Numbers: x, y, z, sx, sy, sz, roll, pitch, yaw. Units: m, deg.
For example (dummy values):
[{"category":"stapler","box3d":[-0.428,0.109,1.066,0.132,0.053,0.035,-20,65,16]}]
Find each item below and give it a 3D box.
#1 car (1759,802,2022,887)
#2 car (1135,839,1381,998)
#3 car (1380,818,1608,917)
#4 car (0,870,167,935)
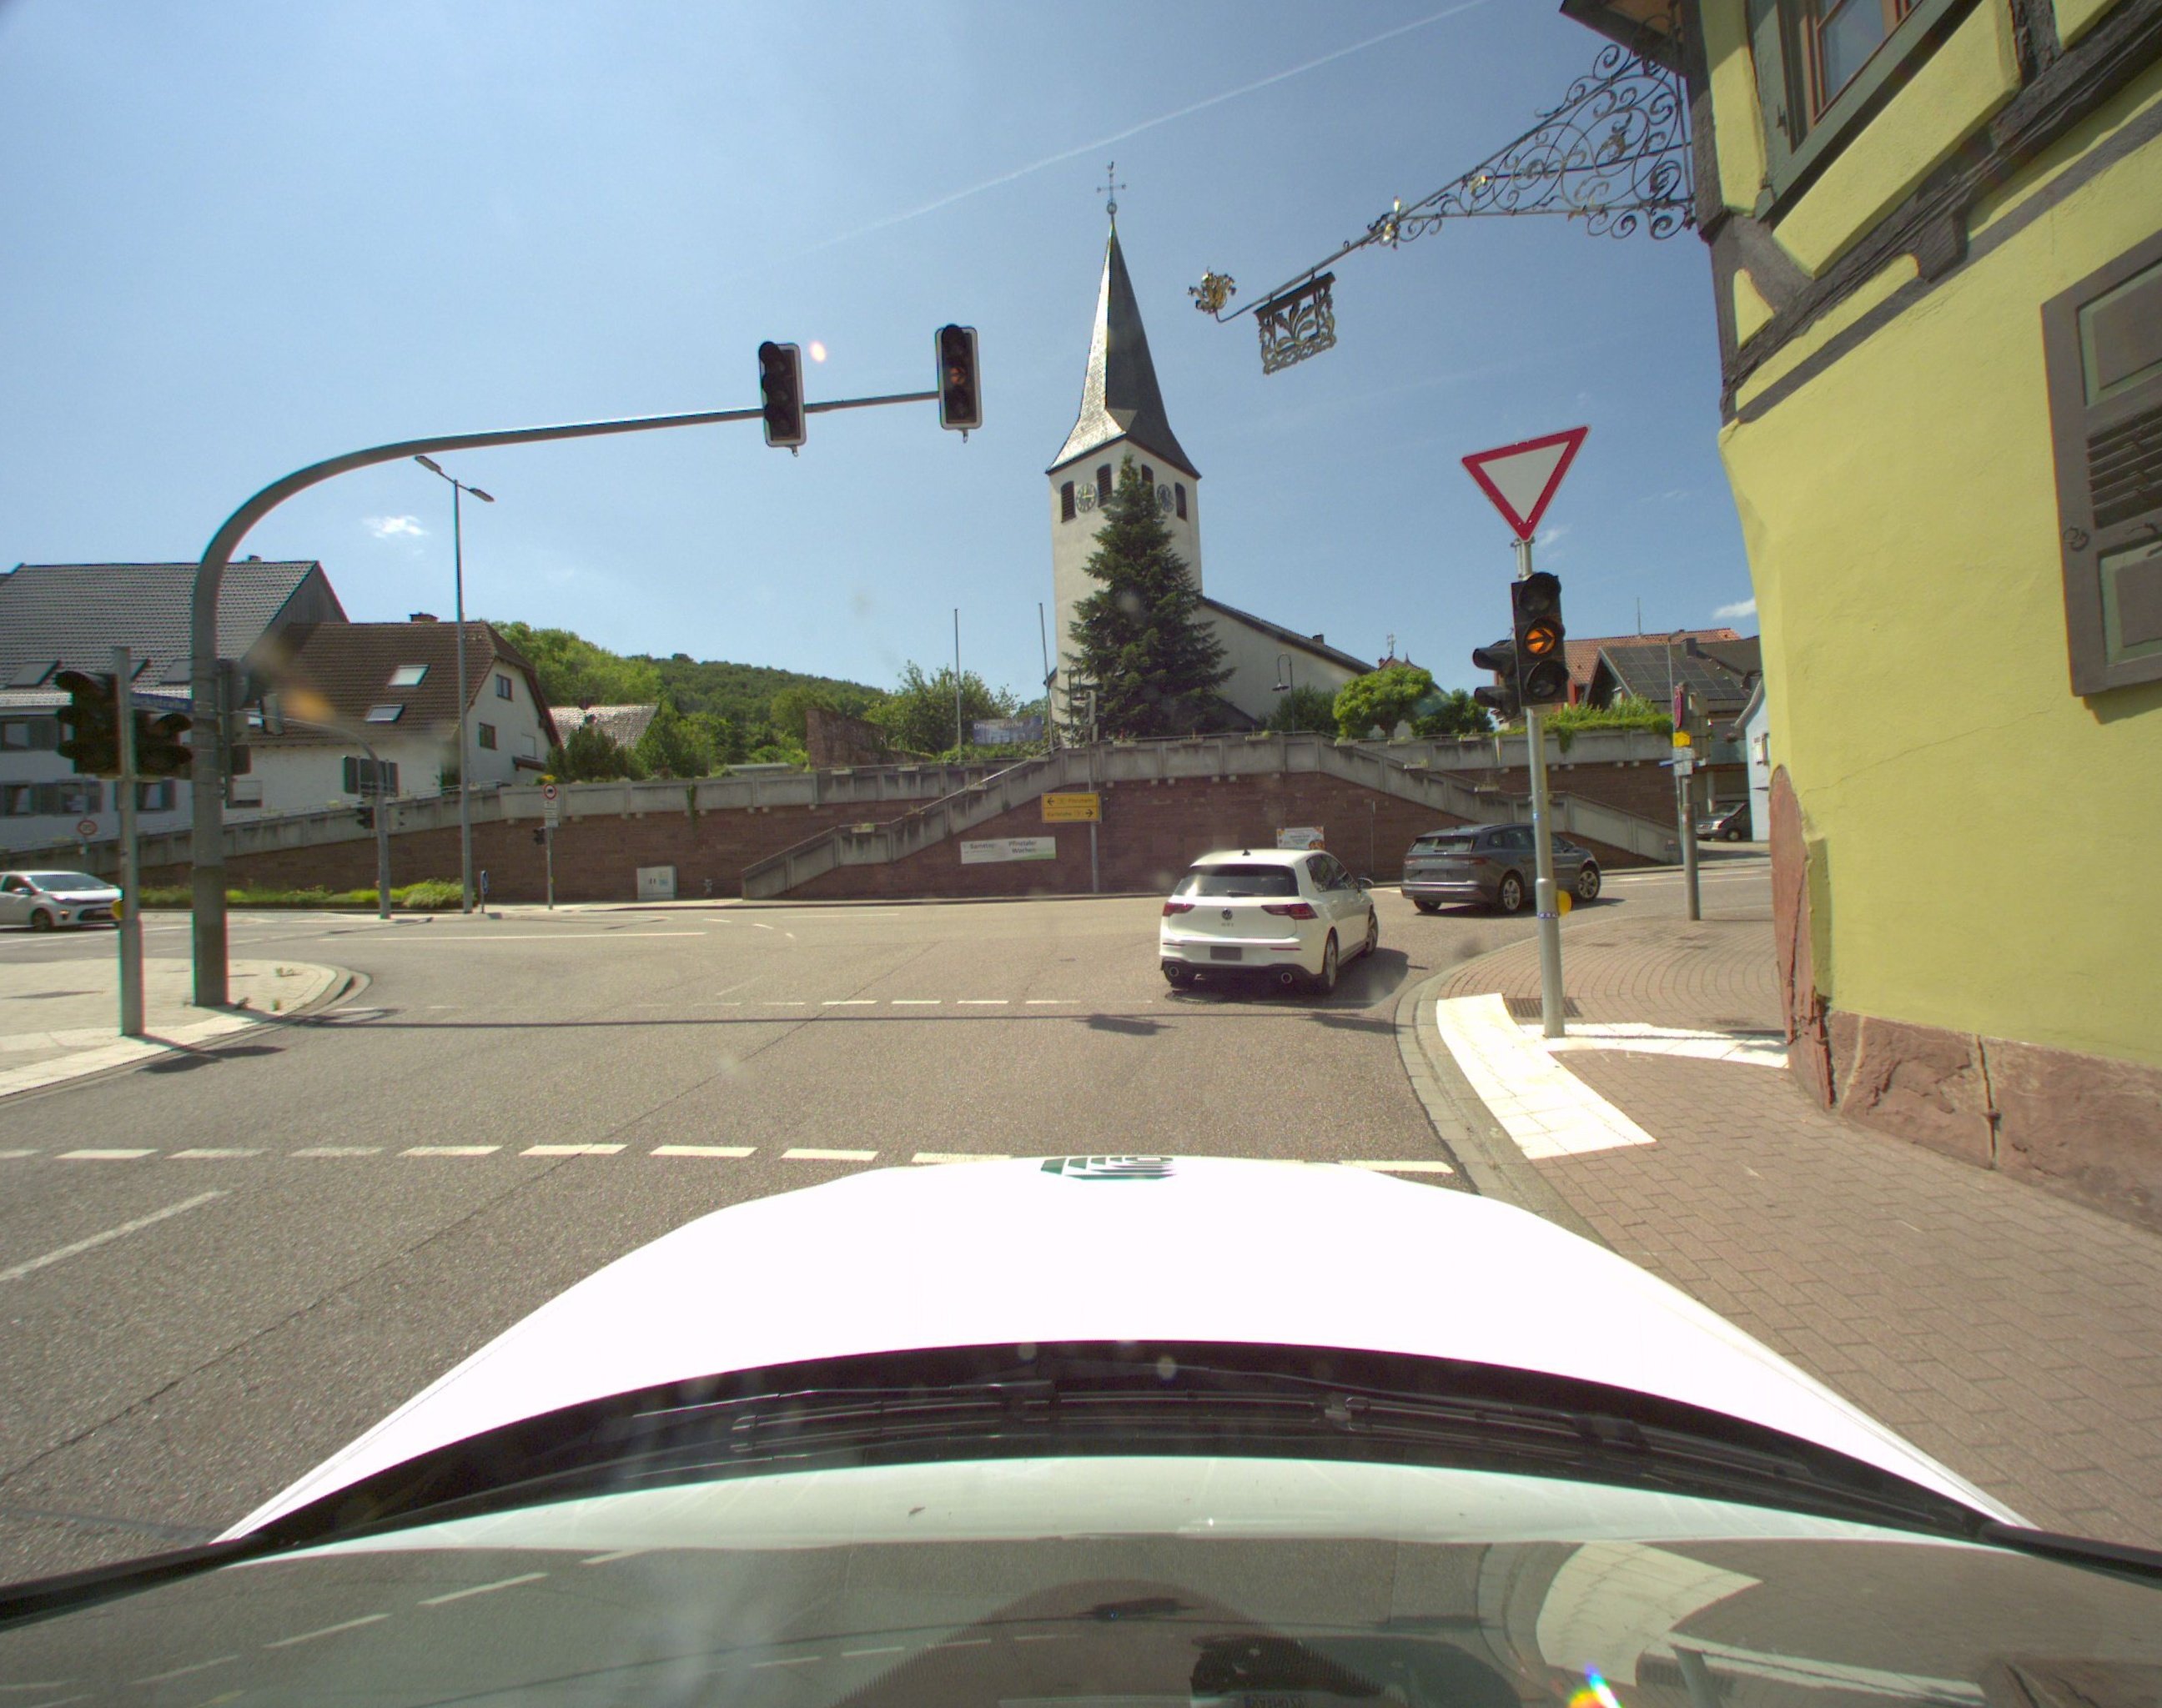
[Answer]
[{"category":"car","box3d":[16.225,-0.184,16.419,3.848,1.458,1.783,-3,0,-8]},{"category":"car","box3d":[2.280,0.594,9.586,1.766,1.458,3.887,-3,0,28]},{"category":"car","box3d":[7.953,0.197,15.566,4.342,1.582,1.935,-3,0,-33]},{"category":"car","box3d":[-26.305,1.230,20.855,3.966,1.479,1.868,-1,1,7]}]
